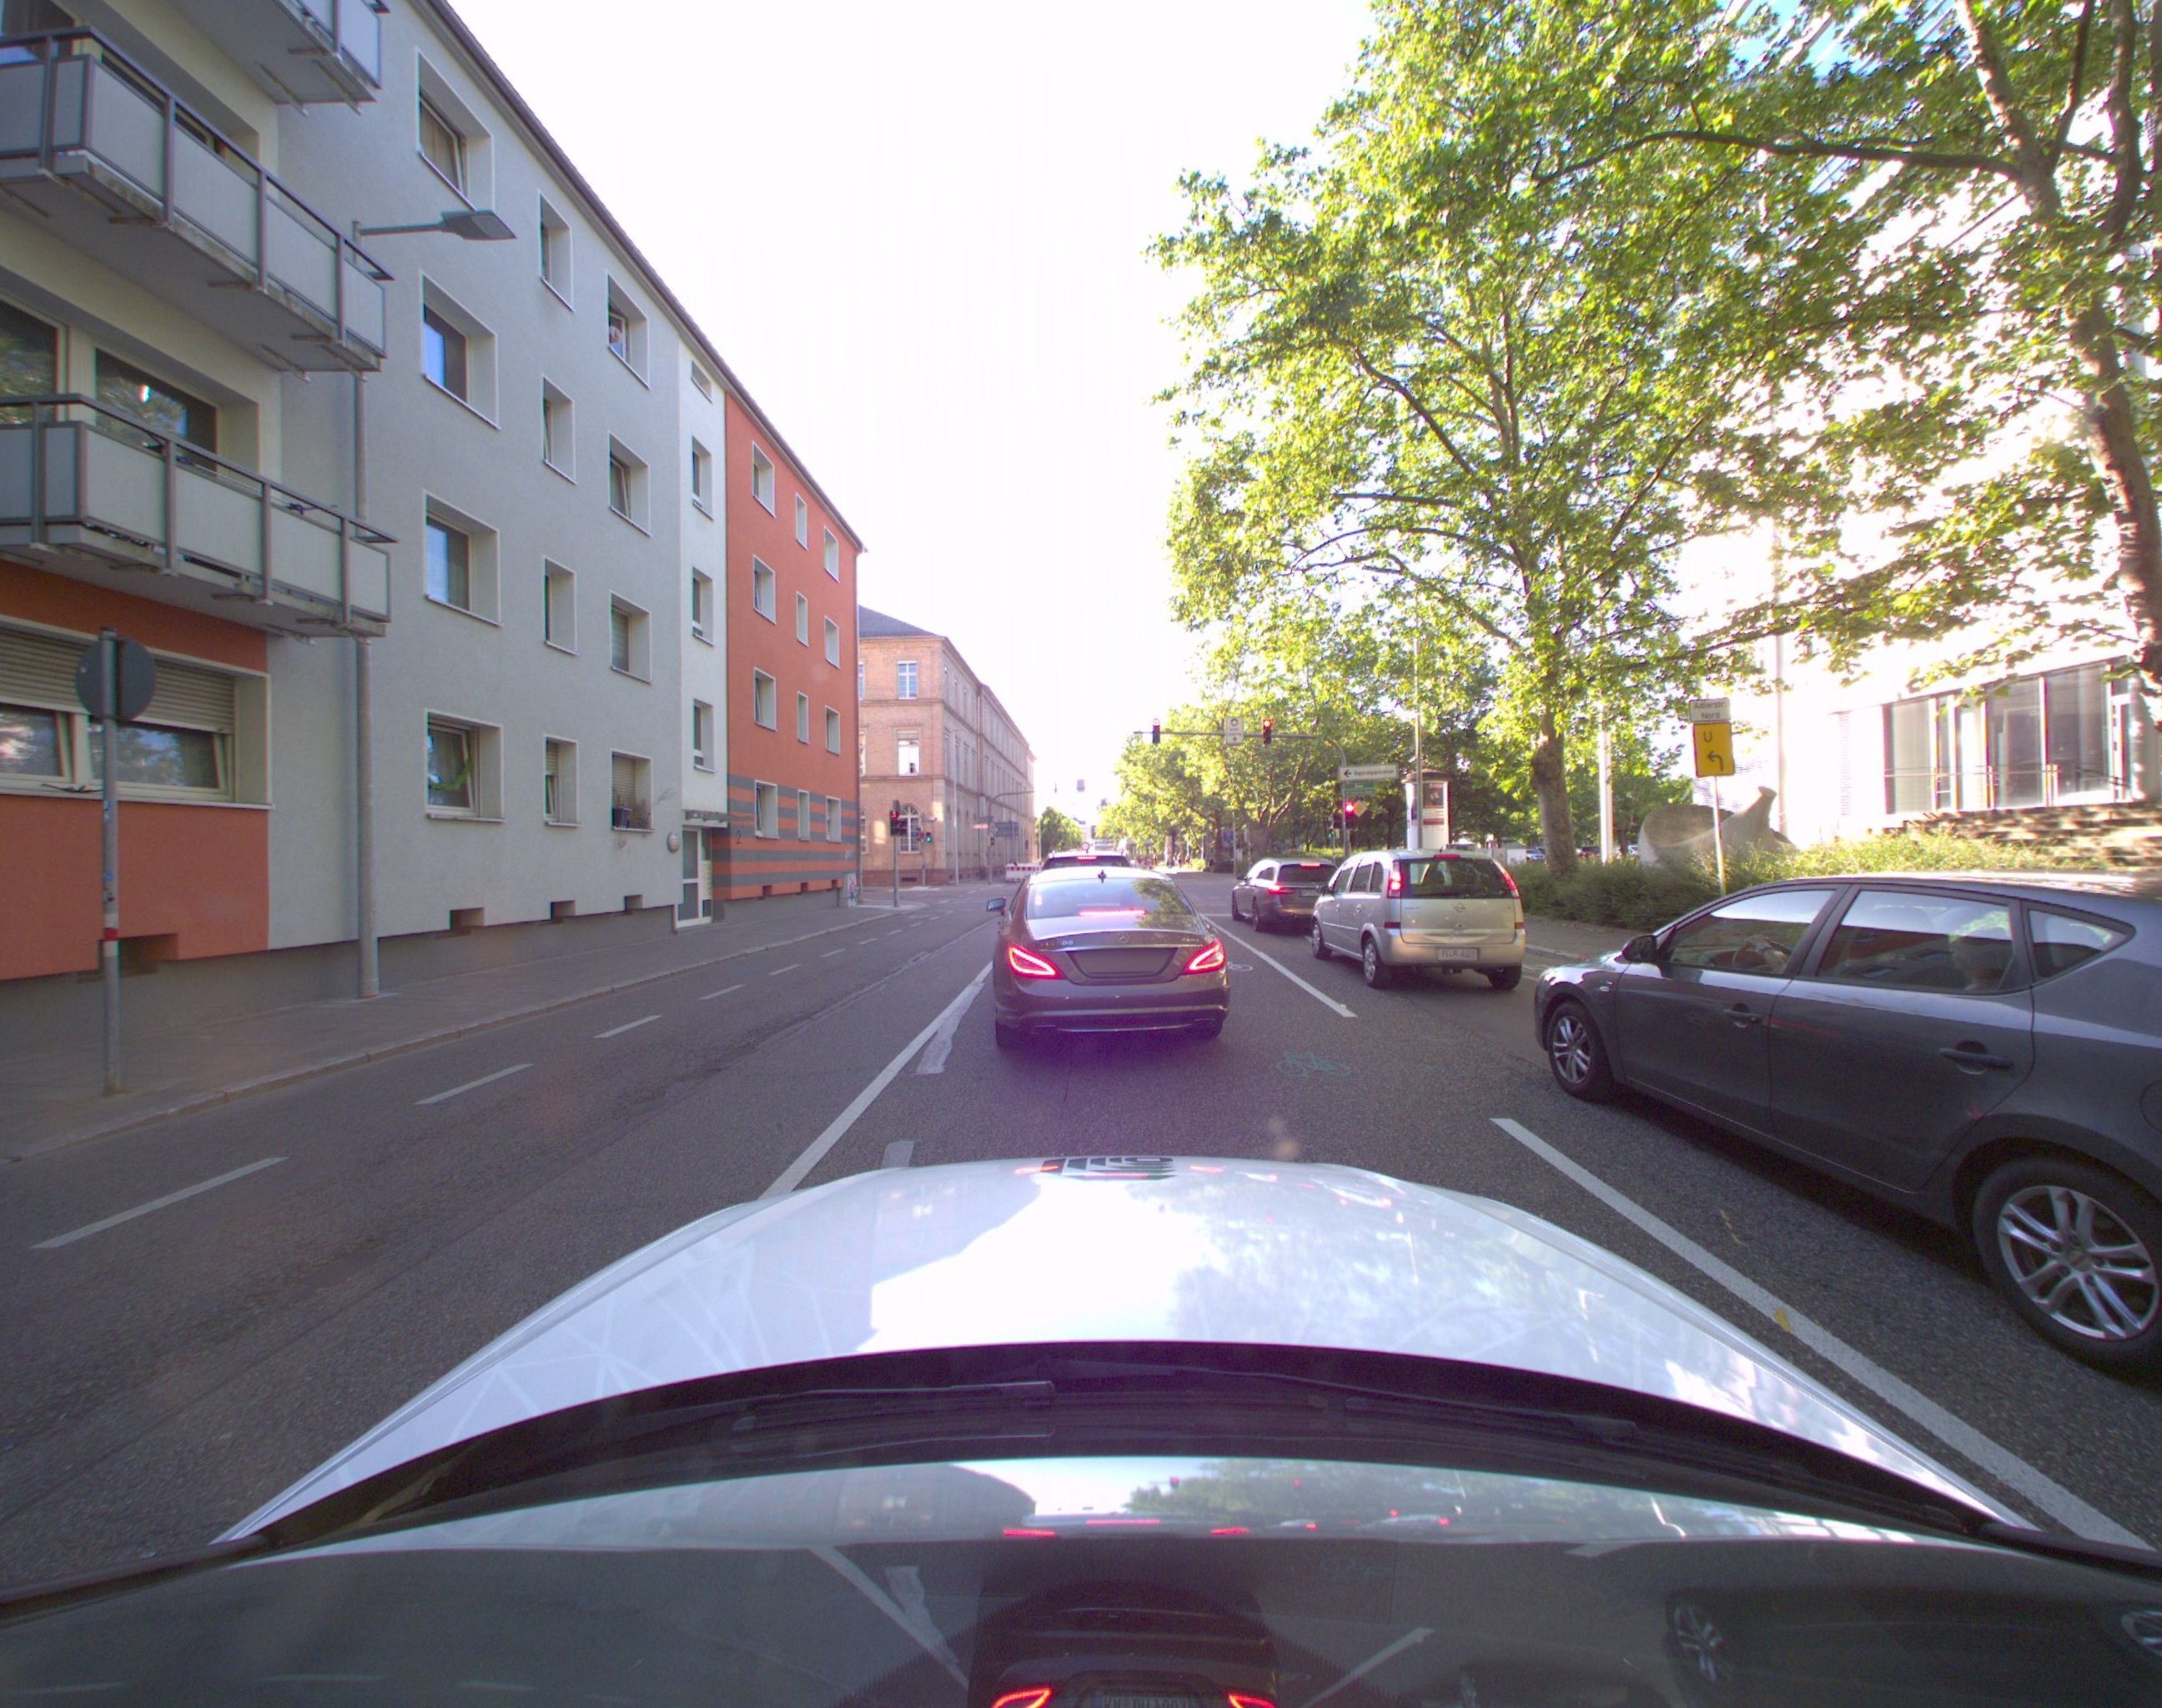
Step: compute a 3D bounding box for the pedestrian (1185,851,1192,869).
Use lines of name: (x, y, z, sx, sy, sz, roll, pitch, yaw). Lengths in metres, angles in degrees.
pedestrian: (10.807, 0.626, 81.997, 0.601, 1.821, 0.652, -1, 0, 1)

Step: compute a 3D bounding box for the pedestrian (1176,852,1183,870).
pedestrian: (9.960, 0.673, 82.065, 0.601, 1.821, 0.652, -1, 0, 1)

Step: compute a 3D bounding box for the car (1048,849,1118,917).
car: (0.125, 0.767, 23.377, 1.813, 1.762, 4.002, -1, 0, 2)

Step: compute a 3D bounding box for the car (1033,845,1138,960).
car: (0.055, 0.709, 13.792, 1.513, 1.647, 3.879, -1, 0, 0)

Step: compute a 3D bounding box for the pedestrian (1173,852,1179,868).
pedestrian: (11.198, 0.732, 95.599, 0.609, 1.821, 0.933, -1, 0, 2)

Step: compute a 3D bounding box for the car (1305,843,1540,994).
car: (4.204, 0.691, 10.705, 1.694, 1.603, 3.863, 1, 0, 4)

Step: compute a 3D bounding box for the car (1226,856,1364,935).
car: (4.410, 0.777, 17.570, 1.905, 1.464, 4.671, 0, 0, 2)

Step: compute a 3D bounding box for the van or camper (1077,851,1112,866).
van or camper: (1.775, 0.649, 110.548, 4.536, 1.941, 2.012, -1, 0, 43)

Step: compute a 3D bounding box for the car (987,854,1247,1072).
car: (0.069, 0.746, 7.799, 1.801, 1.456, 4.342, -1, 0, -5)

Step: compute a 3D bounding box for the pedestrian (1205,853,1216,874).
pedestrian: (10.128, 0.718, 63.687, 0.827, 1.606, 0.652, -1, 0, 1)

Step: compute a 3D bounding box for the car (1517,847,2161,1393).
car: (3.809, 0.731, 3.694, 1.638, 1.482, 3.978, 0, 0, 2)
